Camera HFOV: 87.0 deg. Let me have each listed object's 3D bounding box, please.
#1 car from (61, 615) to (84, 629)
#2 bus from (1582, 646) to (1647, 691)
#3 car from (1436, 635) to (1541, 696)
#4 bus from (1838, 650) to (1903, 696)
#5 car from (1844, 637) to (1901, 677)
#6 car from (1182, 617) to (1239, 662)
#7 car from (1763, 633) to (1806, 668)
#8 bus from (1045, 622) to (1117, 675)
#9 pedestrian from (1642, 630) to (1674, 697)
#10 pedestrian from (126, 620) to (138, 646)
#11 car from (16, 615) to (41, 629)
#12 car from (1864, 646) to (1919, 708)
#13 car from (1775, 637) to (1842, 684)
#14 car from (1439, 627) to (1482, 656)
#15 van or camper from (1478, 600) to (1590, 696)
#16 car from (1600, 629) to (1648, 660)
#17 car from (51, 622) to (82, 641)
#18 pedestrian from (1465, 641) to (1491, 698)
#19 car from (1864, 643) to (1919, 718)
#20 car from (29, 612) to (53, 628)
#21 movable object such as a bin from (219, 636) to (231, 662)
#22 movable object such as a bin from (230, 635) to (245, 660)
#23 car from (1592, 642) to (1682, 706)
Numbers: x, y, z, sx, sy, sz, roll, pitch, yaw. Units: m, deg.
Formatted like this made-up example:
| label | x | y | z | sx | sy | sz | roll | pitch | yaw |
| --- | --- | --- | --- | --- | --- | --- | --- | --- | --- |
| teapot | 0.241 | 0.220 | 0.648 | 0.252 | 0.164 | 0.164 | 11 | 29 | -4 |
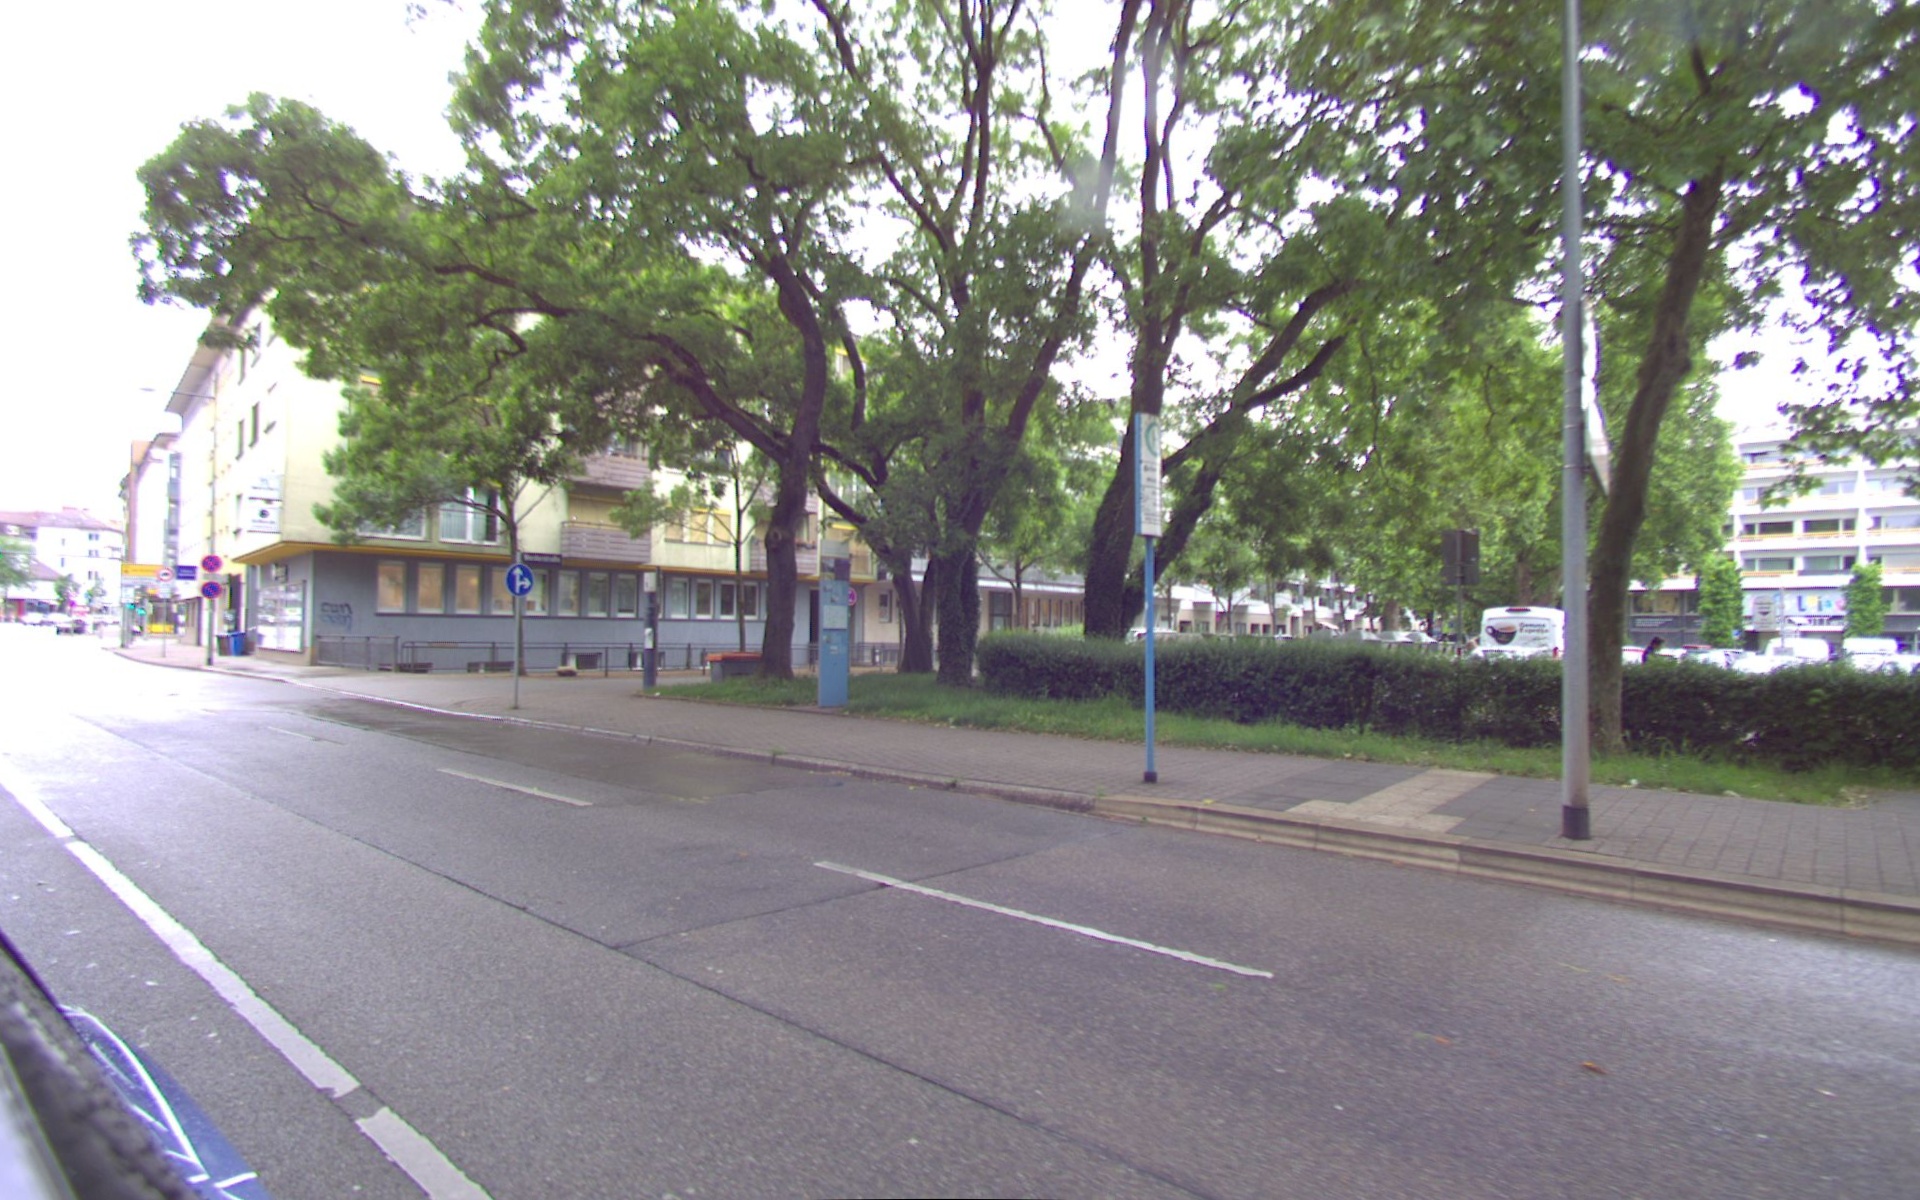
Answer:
| label | x | y | z | sx | sy | sz | roll | pitch | yaw |
| --- | --- | --- | --- | --- | --- | --- | --- | --- | --- |
| car | -112.138 | 2.755 | 127.882 | 4.002 | 1.670 | 1.841 | -2 | -4 | 45 |
| bus | 24.014 | 2.488 | 37.100 | 1.604 | 1.551 | 3.384 | -1 | -3 | 40 |
| car | 13.797 | 1.674 | 26.353 | 1.700 | 1.459 | 3.384 | -1 | -3 | 41 |
| bus | 33.015 | 2.610 | 36.779 | 1.604 | 1.551 | 3.384 | -1 | -3 | 40 |
| car | 40.194 | 2.468 | 44.628 | 1.639 | 1.536 | 3.161 | 0 | 0 | 38 |
| car | 11.980 | 1.889 | 48.266 | 1.988 | 2.029 | 3.967 | 0 | -3 | 24 |
| car | 41.851 | 2.532 | 51.418 | 1.639 | 1.536 | 3.161 | -1 | 0 | 38 |
| bus | 4.706 | 1.871 | 38.946 | 1.703 | 1.939 | 3.697 | 0 | -3 | 24 |
| pedestrian | 13.229 | 1.192 | 19.192 | 0.484 | 1.222 | 0.433 | 0 | 0 | 34 |
| pedestrian | -60.512 | 2.408 | 73.942 | 0.586 | 1.858 | 0.565 | 3 | -4 | -42 |
| car | -111.889 | 2.622 | 121.549 | 4.002 | 1.653 | 1.971 | -2 | -4 | 45 |
| car | 23.386 | 1.882 | 25.082 | 1.391 | 1.446 | 3.227 | -1 | -3 | 41 |
| car | 28.033 | 1.988 | 33.475 | 1.604 | 1.439 | 3.275 | -1 | -3 | 40 |
| car | 27.147 | 2.245 | 54.821 | 1.428 | 1.439 | 2.926 | -1 | 0 | 40 |
| van or camper | 16.706 | 1.376 | 29.341 | 2.097 | 2.556 | 4.367 | -1 | -3 | 40 |
| car | 32.133 | 2.155 | 48.945 | 1.604 | 1.439 | 3.275 | -1 | -3 | 40 |
| car | -82.472 | 2.925 | 93.404 | 4.002 | 1.730 | 1.863 | -2 | -4 | 45 |
| pedestrian | 11.442 | 1.528 | 22.345 | 0.465 | 1.222 | 0.433 | 0 | 0 | 34 |
| car | 19.815 | 1.660 | 21.102 | 1.391 | 1.446 | 3.227 | -1 | -3 | 41 |
| car | -114.668 | 2.526 | 126.277 | 4.002 | 1.866 | 1.971 | -2 | -4 | 45 |
| movable object such as a bin | -30.408 | 2.022 | 41.864 | 0.333 | 1.037 | 0.354 | 3 | -4 | -42 |
| movable object such as a bin | -30.036 | 1.968 | 42.073 | 0.409 | 1.037 | 0.354 | 3 | -4 | -42 |
| car | 16.587 | 1.780 | 24.748 | 1.391 | 1.446 | 3.227 | -1 | -3 | 41 |
